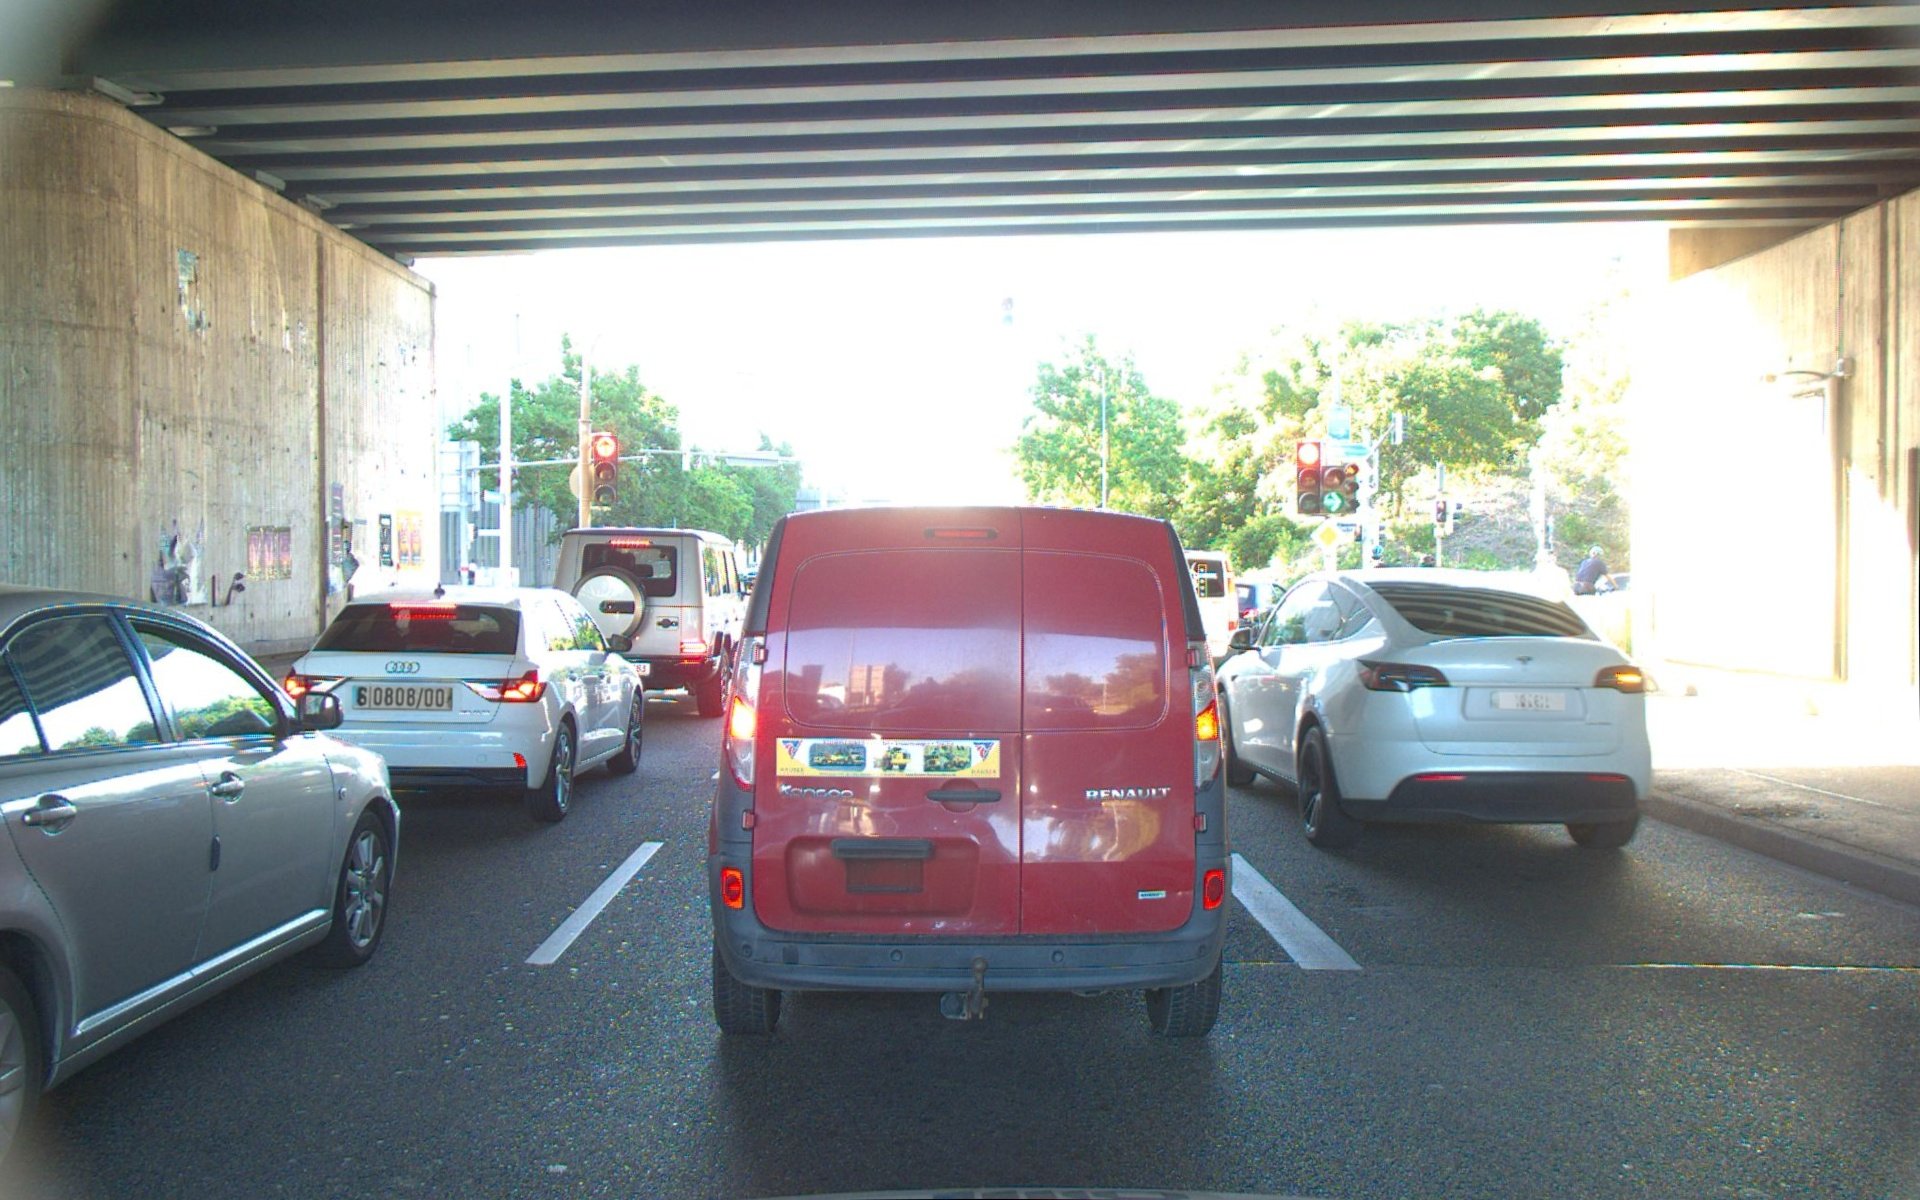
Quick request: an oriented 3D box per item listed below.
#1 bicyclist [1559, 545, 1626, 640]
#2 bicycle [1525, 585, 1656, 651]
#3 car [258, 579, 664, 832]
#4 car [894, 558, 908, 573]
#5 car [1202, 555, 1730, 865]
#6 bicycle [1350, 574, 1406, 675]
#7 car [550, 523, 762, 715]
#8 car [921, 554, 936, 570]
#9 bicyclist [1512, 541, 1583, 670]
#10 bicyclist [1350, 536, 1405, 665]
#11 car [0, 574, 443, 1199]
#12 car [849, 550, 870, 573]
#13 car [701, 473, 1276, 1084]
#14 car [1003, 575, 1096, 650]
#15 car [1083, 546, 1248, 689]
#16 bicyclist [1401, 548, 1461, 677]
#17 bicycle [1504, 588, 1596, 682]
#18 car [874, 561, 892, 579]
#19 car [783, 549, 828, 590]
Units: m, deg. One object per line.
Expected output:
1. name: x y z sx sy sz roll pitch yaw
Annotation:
1. bicyclist: 11.457 -0.131 29.951 0.872 1.684 0.743 0 0 -26
2. bicycle: 11.411 0.316 29.932 2.430 1.166 0.762 0 0 -26
3. car: -3.210 0.596 11.429 1.658 1.435 3.813 1 0 -1
4. car: -8.577 -5.022 240.937 1.890 2.049 3.913 1 0 -1
5. car: 2.998 0.577 10.921 1.953 1.578 4.419 2 0 -2
6. bicycle: 5.173 0.291 20.530 0.637 1.188 1.780 0 0 13
7. car: -3.340 0.183 18.833 1.777 1.937 3.812 1 0 -2
8. car: -4.220 -5.024 220.627 1.953 2.049 3.999 1 0 -1
9. bicyclist: 7.396 0.068 20.836 0.656 1.589 0.735 0 0 4
10. bicyclist: 5.172 0.003 20.529 0.639 1.561 0.847 0 0 13
11. car: -3.004 0.661 4.872 1.662 1.480 4.397 1 0 -2
12. car: -9.495 -3.650 156.760 1.712 2.049 3.843 1 0 -1
13. car: 0.060 0.522 6.921 1.684 1.795 3.999 1 0 -1
14. car: 1.845 0.241 35.025 1.710 1.481 3.716 1 0 -1
15. car: 2.917 0.185 24.447 1.858 1.868 4.836 1 1 1
16. bicyclist: 6.178 0.165 21.718 0.663 1.657 0.644 1 0 10
17. bicycle: 7.401 0.423 20.799 0.667 1.132 1.604 0 0 3
18. car: -9.103 -3.533 195.374 1.953 2.049 3.999 1 0 -1
19. car: -8.058 -1.569 86.584 1.953 2.049 3.999 1 0 -1
